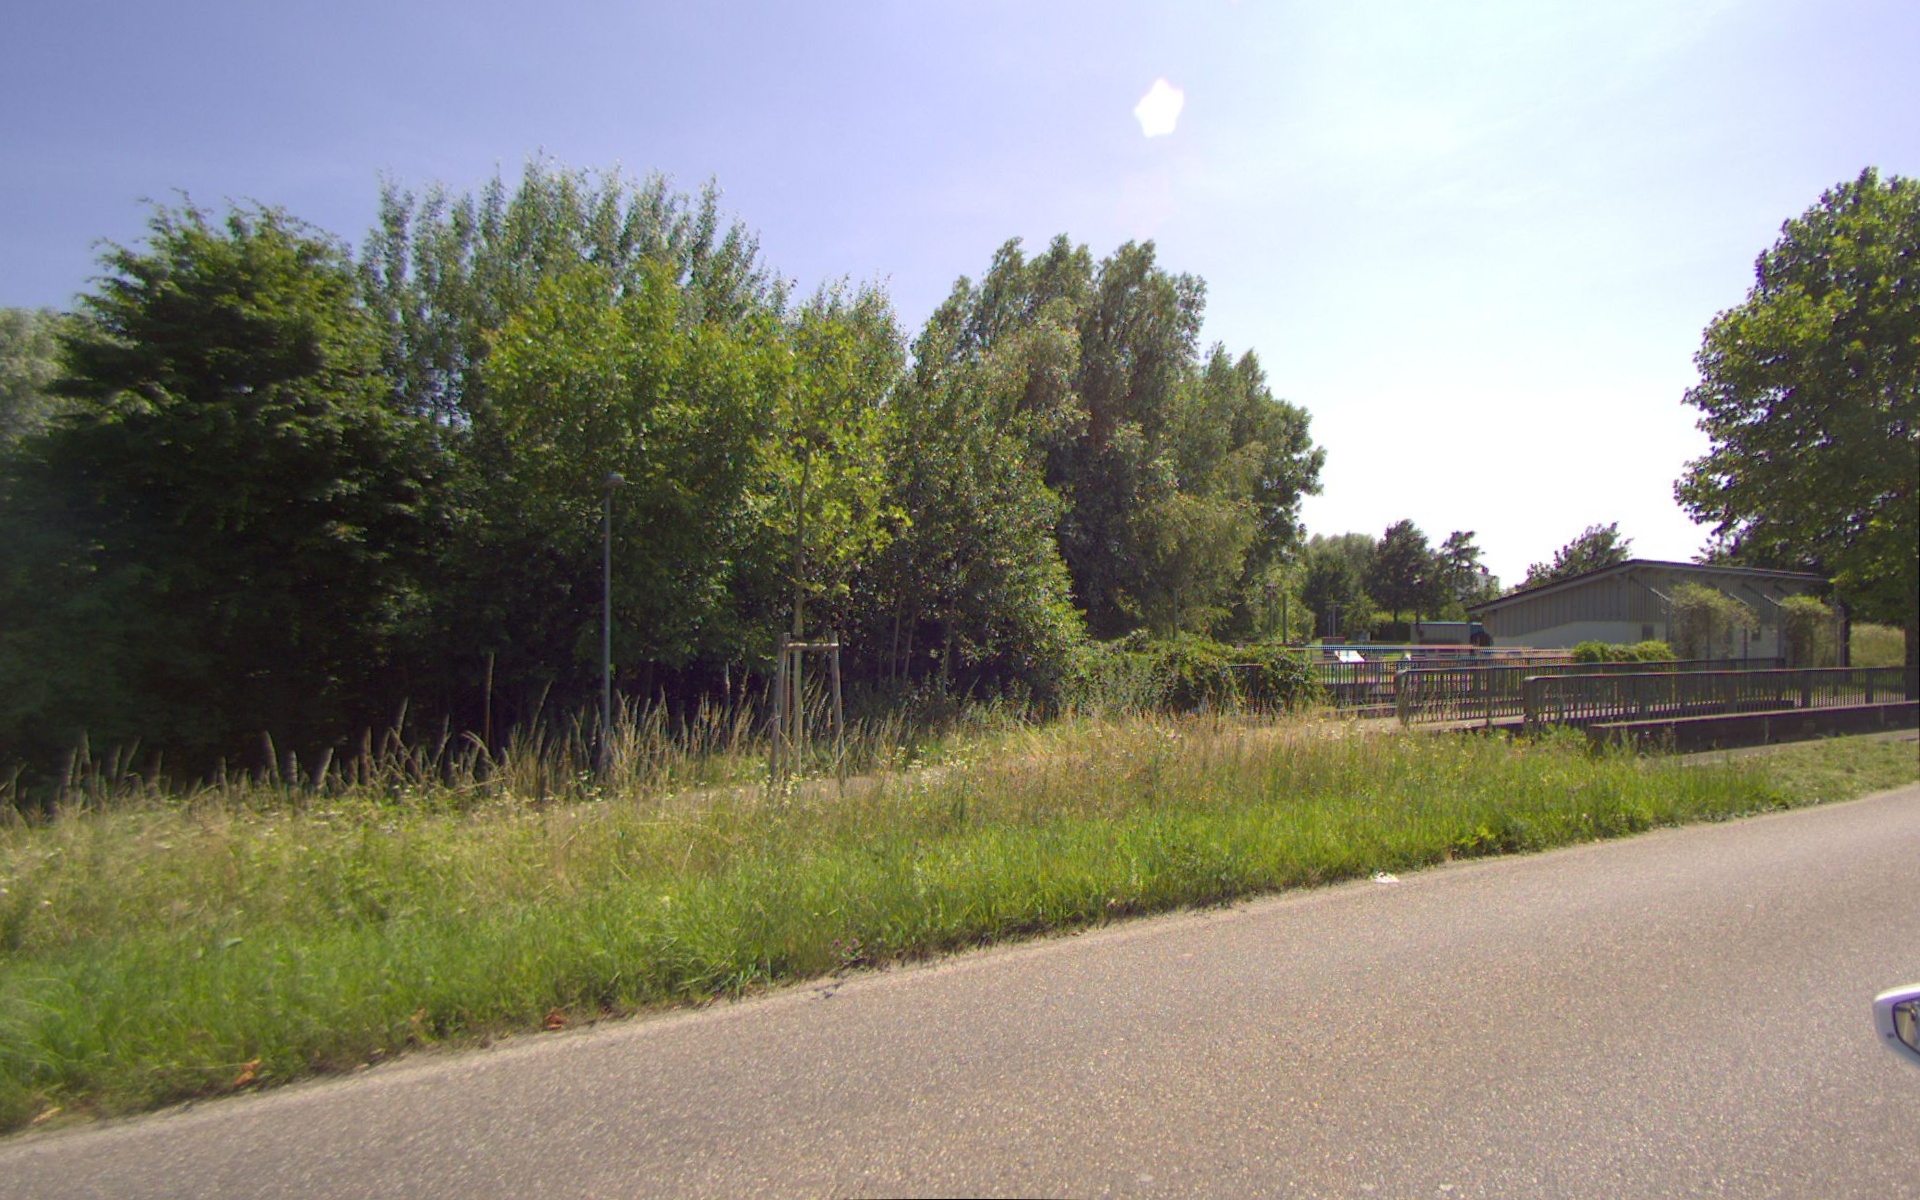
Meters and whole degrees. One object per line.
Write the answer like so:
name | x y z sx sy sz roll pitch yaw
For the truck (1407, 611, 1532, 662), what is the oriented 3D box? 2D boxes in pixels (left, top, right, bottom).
truck | 23.895 1.671 47.072 5.112 2.246 2.972 1 -1 -31
